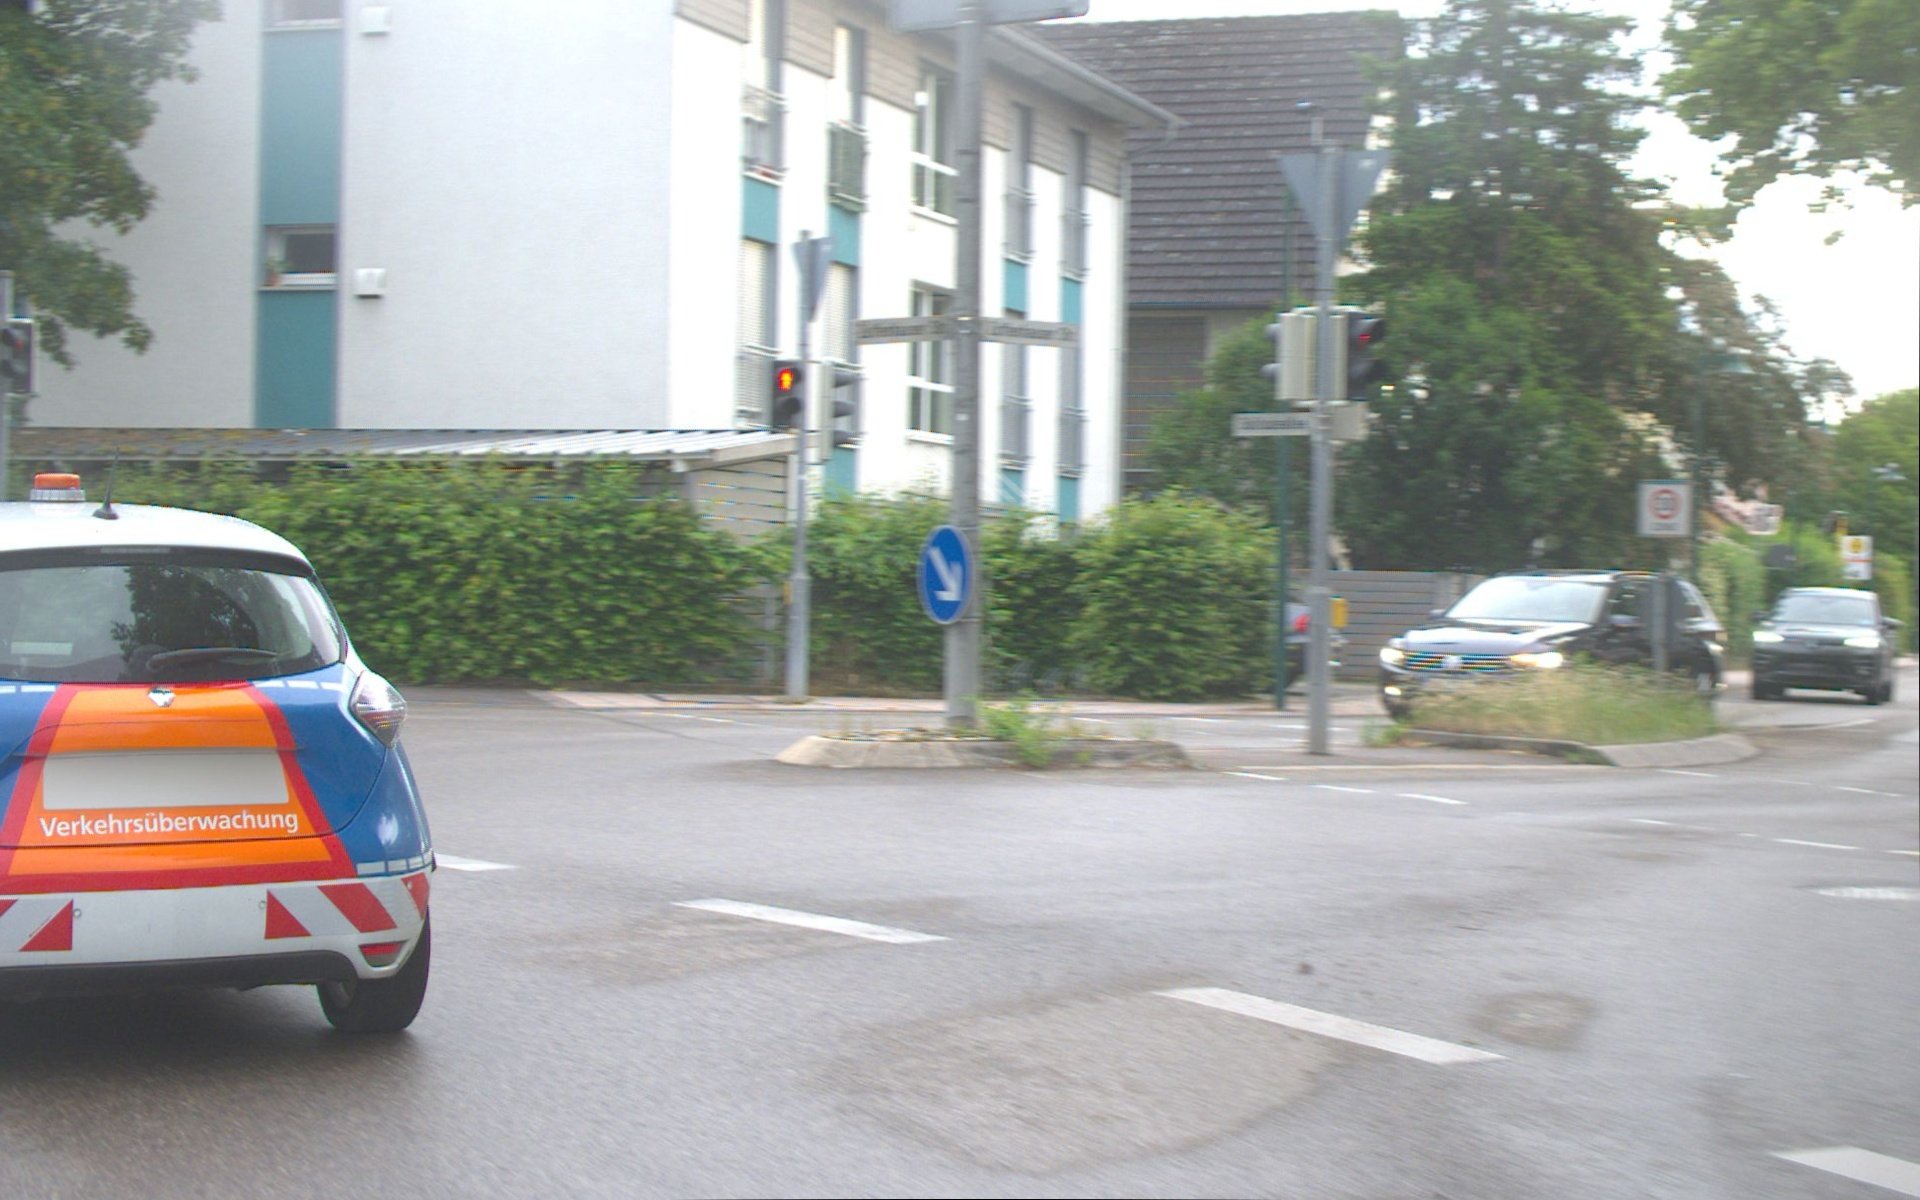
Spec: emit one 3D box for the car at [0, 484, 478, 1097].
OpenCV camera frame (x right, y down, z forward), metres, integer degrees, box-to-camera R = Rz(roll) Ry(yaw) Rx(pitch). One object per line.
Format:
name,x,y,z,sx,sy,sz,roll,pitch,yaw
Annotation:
car,-2.974,0.457,10.798,1.745,1.575,4.001,0,1,-26

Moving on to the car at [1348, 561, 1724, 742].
car,5.328,0.472,31.361,1.945,1.447,4.292,3,0,30

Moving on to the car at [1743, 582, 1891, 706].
car,12.536,0.607,50.144,1.879,1.663,3.711,2,1,17
